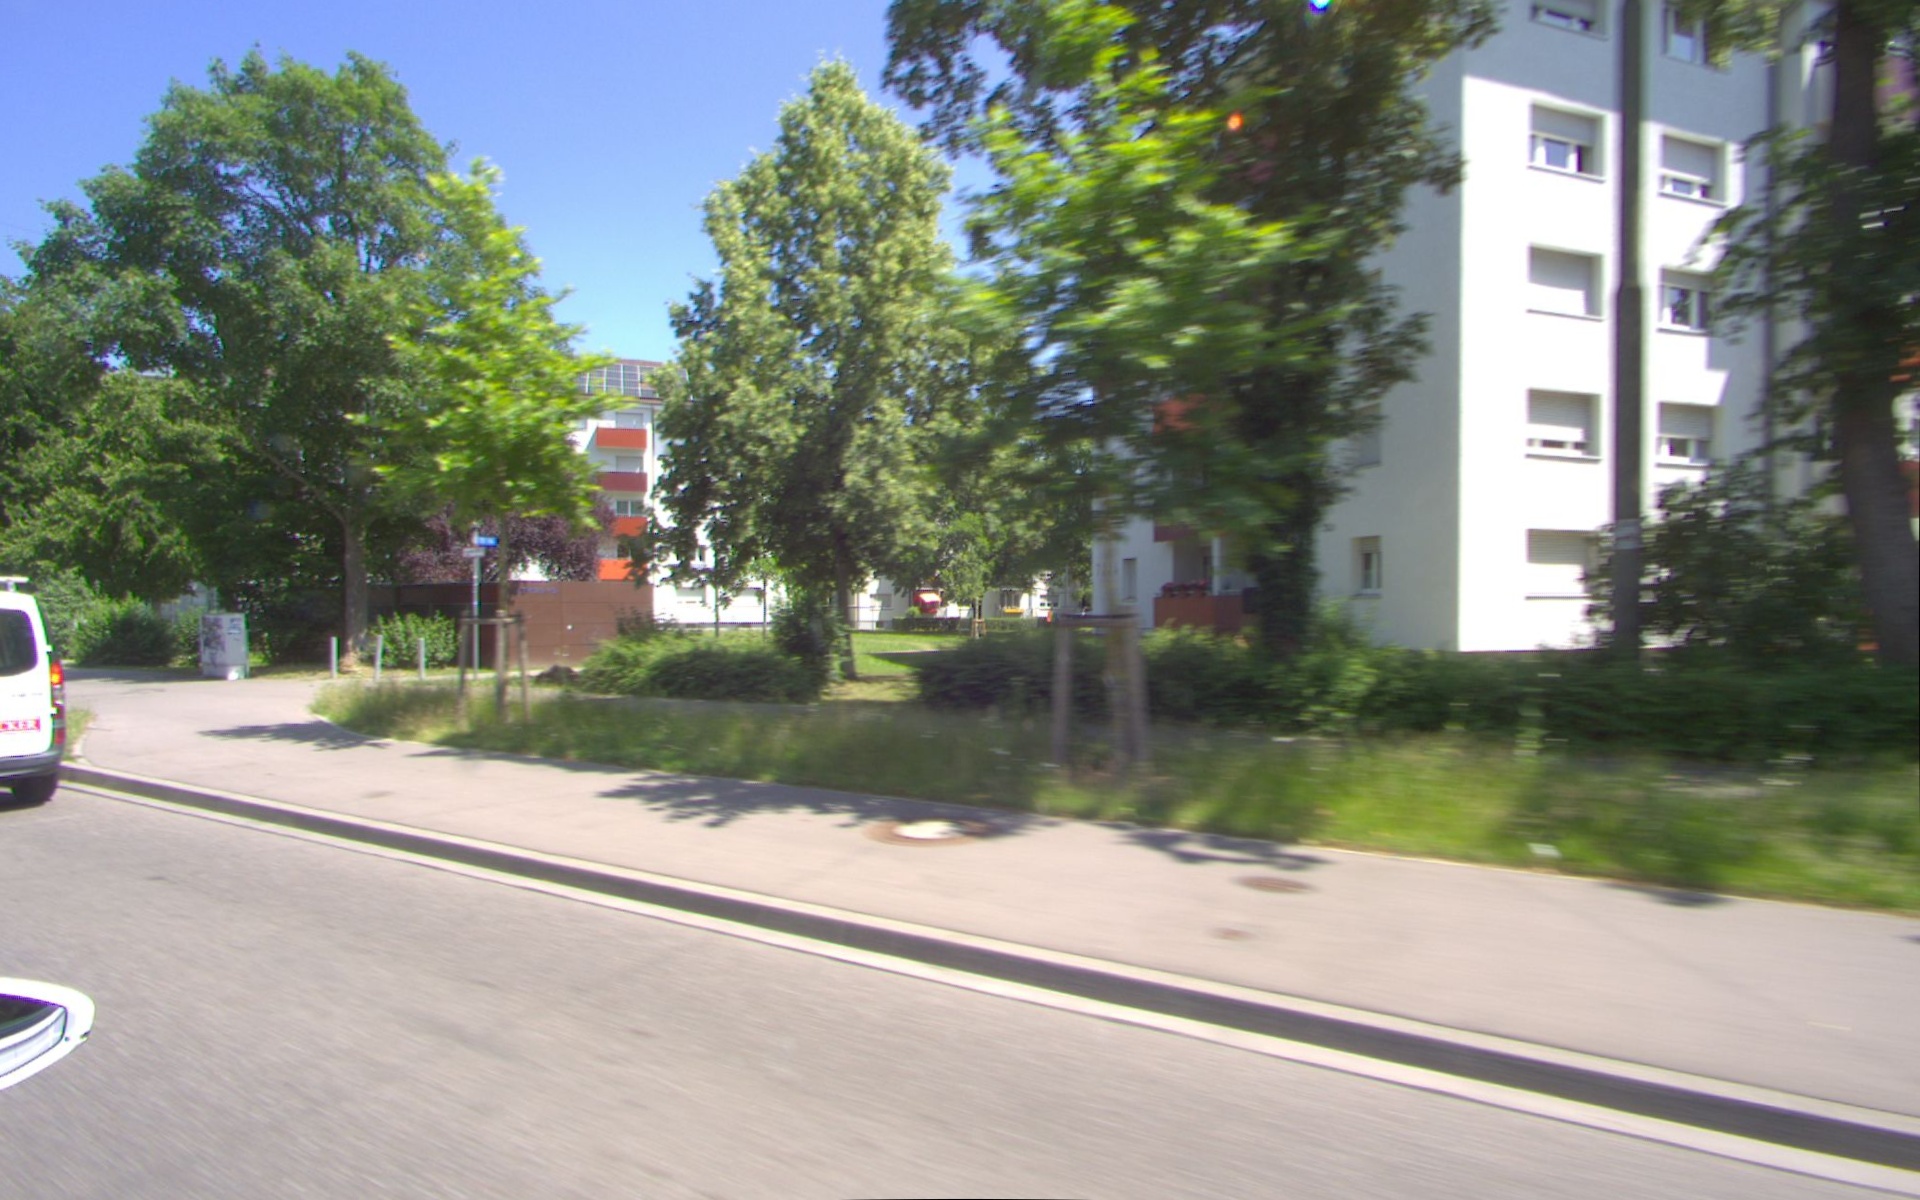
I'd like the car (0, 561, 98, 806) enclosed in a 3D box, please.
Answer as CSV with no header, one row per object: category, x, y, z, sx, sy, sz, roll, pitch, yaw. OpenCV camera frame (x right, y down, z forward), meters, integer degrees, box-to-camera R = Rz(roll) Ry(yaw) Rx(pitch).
car,-9.521,0.653,8.677,4.390,1.906,1.822,0,-2,31
